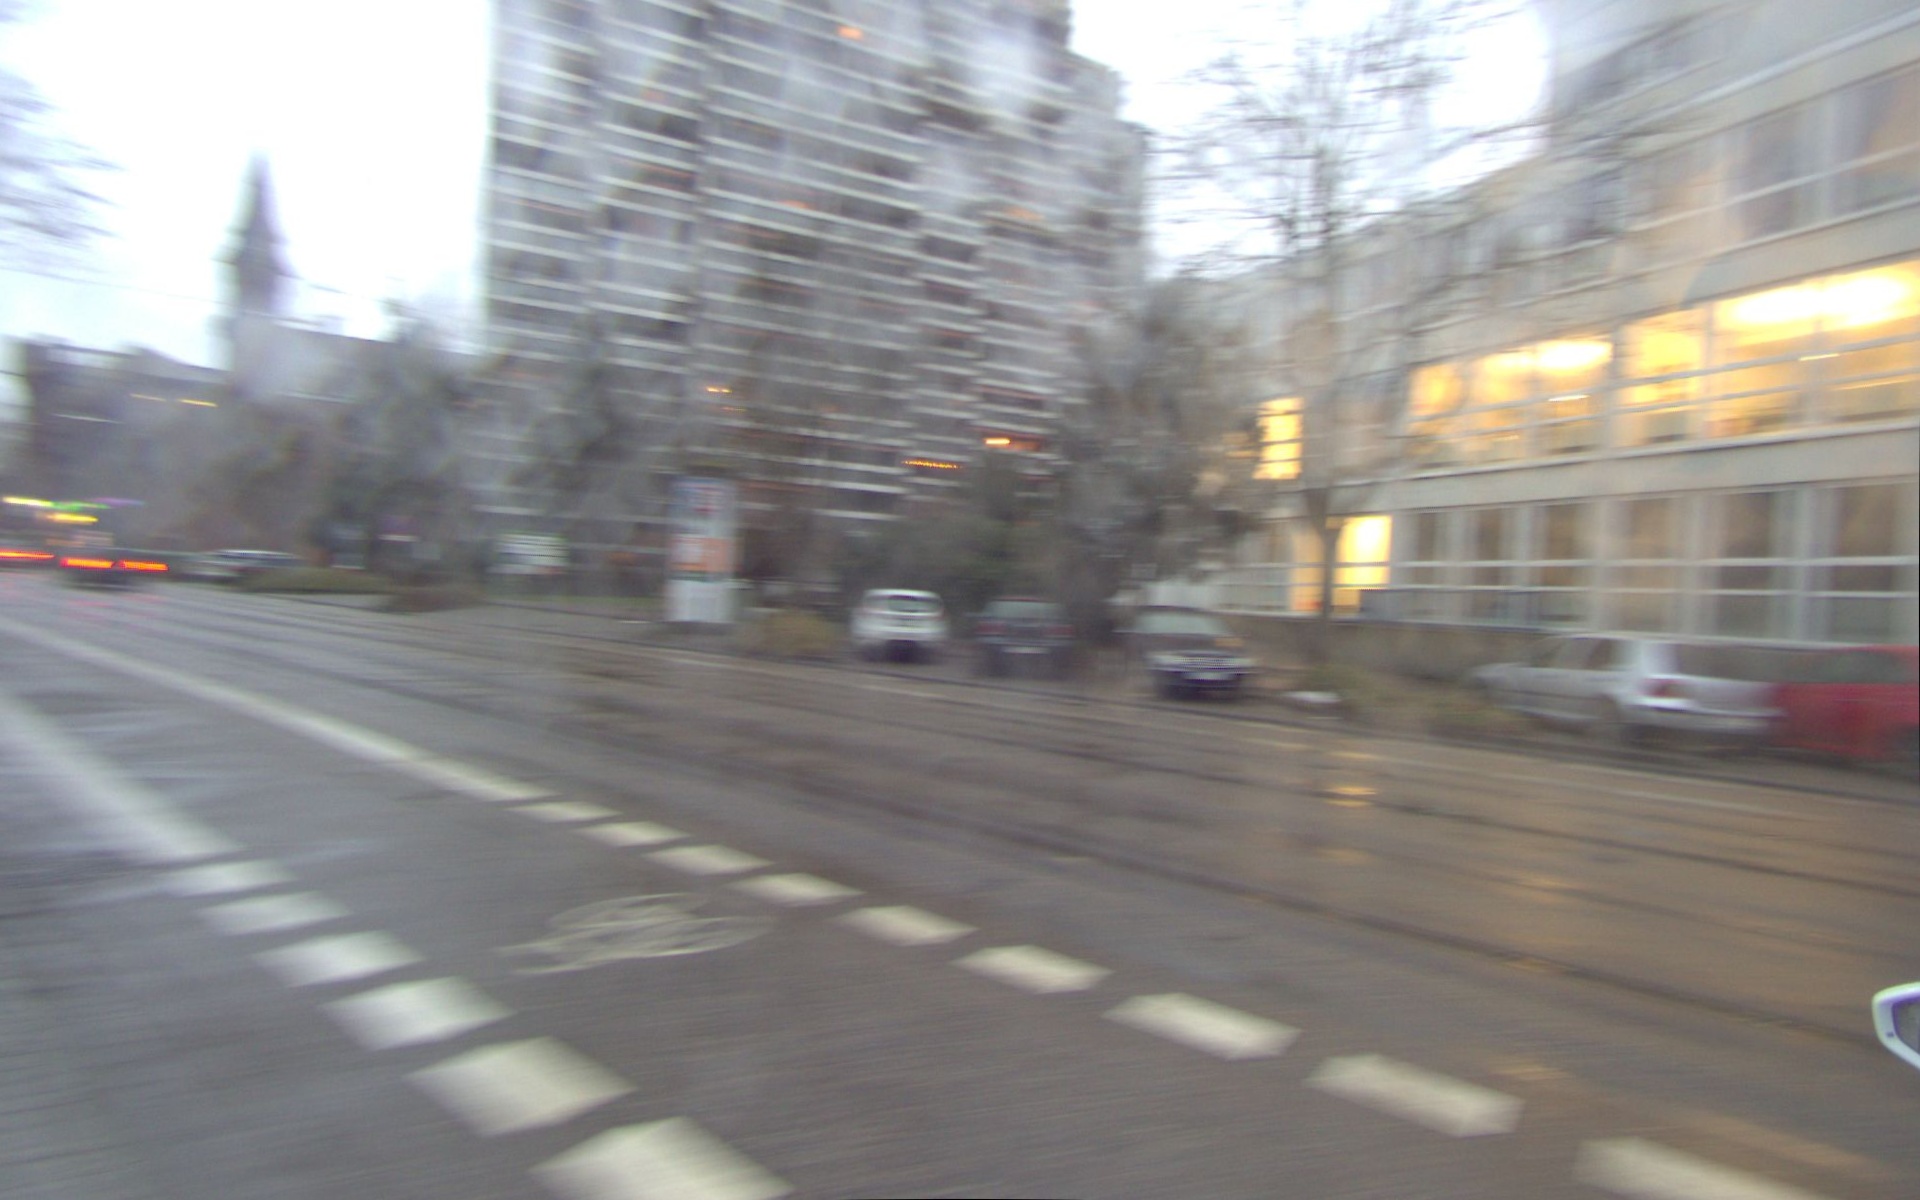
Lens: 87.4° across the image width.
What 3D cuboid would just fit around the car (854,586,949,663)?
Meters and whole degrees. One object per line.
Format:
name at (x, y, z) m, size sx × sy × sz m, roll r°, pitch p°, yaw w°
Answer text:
car at (-1.250, 0.504, 21.887) m, size 1.820 × 1.418 × 3.999 m, roll 3°, pitch -1°, yaw -3°

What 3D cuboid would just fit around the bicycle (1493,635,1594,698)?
bicycle at (11.373, 1.307, 19.570) m, size 2.179 × 1.135 × 0.637 m, roll 3°, pitch 0°, yaw -29°

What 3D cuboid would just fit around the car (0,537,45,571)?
car at (-49.780, -2.426, 53.040) m, size 4.315 × 1.599 × 1.704 m, roll 3°, pitch -1°, yaw 42°

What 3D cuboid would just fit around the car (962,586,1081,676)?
car at (1.089, 0.555, 19.651) m, size 1.820 × 1.482 × 3.999 m, roll 3°, pitch -1°, yaw -3°

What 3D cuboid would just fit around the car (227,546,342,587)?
car at (-30.032, -1.479, 44.723) m, size 1.649 × 1.505 × 3.976 m, roll 3°, pitch -1°, yaw 44°

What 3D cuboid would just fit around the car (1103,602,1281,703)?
car at (3.703, 0.788, 16.773) m, size 1.820 × 1.397 × 3.999 m, roll 3°, pitch -1°, yaw -3°

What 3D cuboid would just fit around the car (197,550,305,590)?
car at (-34.802, -1.467, 49.358) m, size 1.973 × 1.661 × 3.976 m, roll 3°, pitch -1°, yaw 44°

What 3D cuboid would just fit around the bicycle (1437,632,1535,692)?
bicycle at (10.795, 1.277, 20.588) m, size 2.179 × 1.135 × 0.637 m, roll 3°, pitch 0°, yaw -29°

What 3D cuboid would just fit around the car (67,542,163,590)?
car at (-30.821, -1.242, 36.599) m, size 4.226 × 1.565 × 1.747 m, roll 3°, pitch -1°, yaw 37°

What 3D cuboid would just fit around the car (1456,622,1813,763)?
car at (8.708, 1.109, 13.470) m, size 1.760 × 1.465 × 3.996 m, roll 3°, pitch -1°, yaw -7°

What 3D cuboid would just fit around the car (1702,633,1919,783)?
car at (10.976, 1.235, 11.881) m, size 1.696 × 1.512 × 3.450 m, roll 3°, pitch -1°, yaw -3°

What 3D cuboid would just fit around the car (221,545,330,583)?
car at (-32.397, -1.676, 47.595) m, size 1.649 × 1.505 × 3.976 m, roll 3°, pitch -1°, yaw 44°
